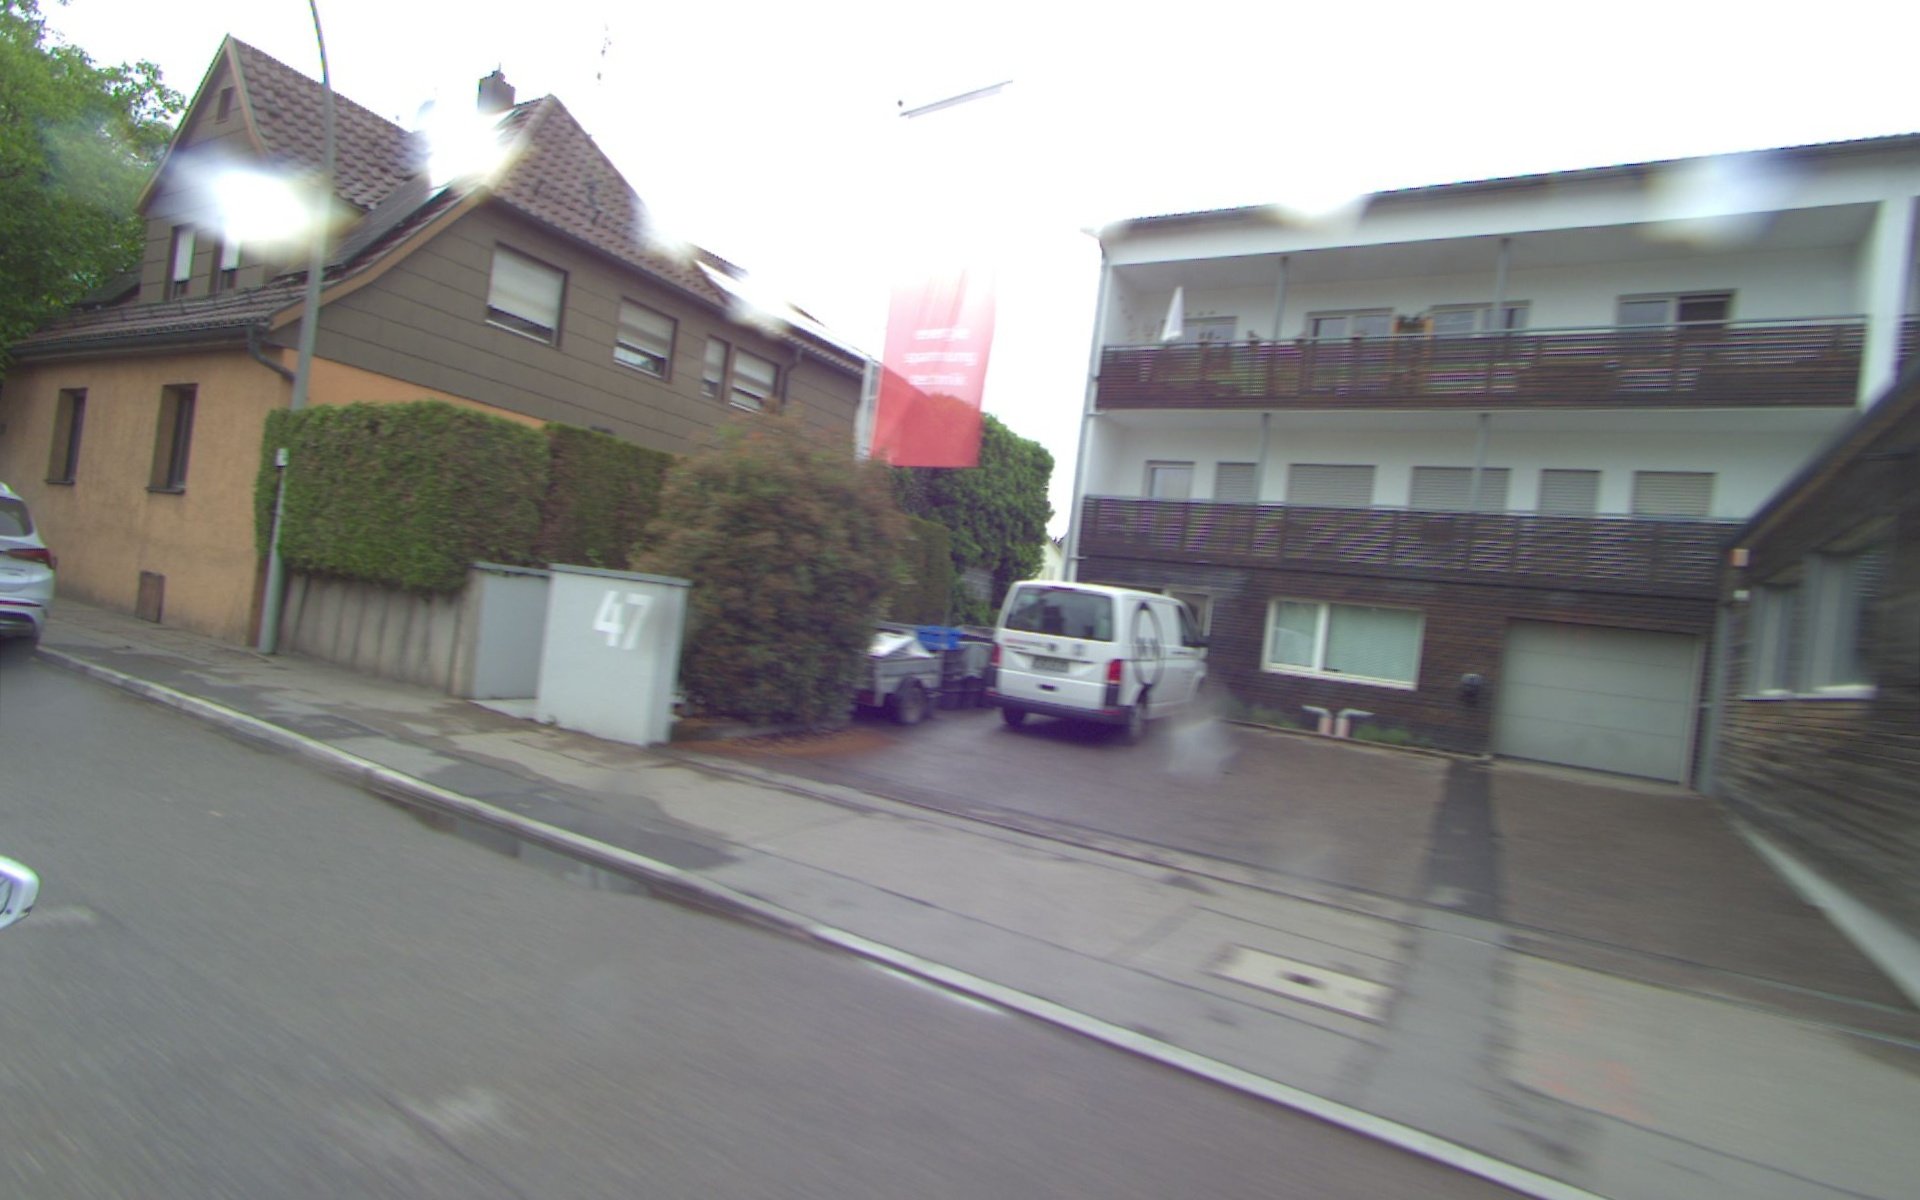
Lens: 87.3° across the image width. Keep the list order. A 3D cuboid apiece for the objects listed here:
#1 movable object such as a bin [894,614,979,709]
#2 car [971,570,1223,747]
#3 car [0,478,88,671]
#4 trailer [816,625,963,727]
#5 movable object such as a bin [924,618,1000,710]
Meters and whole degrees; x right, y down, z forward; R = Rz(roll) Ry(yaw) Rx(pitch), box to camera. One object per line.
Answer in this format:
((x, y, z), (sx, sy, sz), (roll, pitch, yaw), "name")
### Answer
((-0.336, 0.871, 14.353), (0.797, 1.203, 0.690), (11, 3, 33), "movable object such as a bin")
((2.109, 0.753, 14.142), (1.829, 1.924, 4.464), (7, 2, 29), "car")
((-10.490, -0.482, 9.658), (4.248, 1.685, 1.869), (7, -1, 31), "car")
((-0.834, 0.901, 12.572), (0.904, 1.048, 1.916), (7, 3, 26), "trailer")
((0.028, 0.937, 14.848), (0.796, 1.203, 0.532), (11, 4, 33), "movable object such as a bin")
